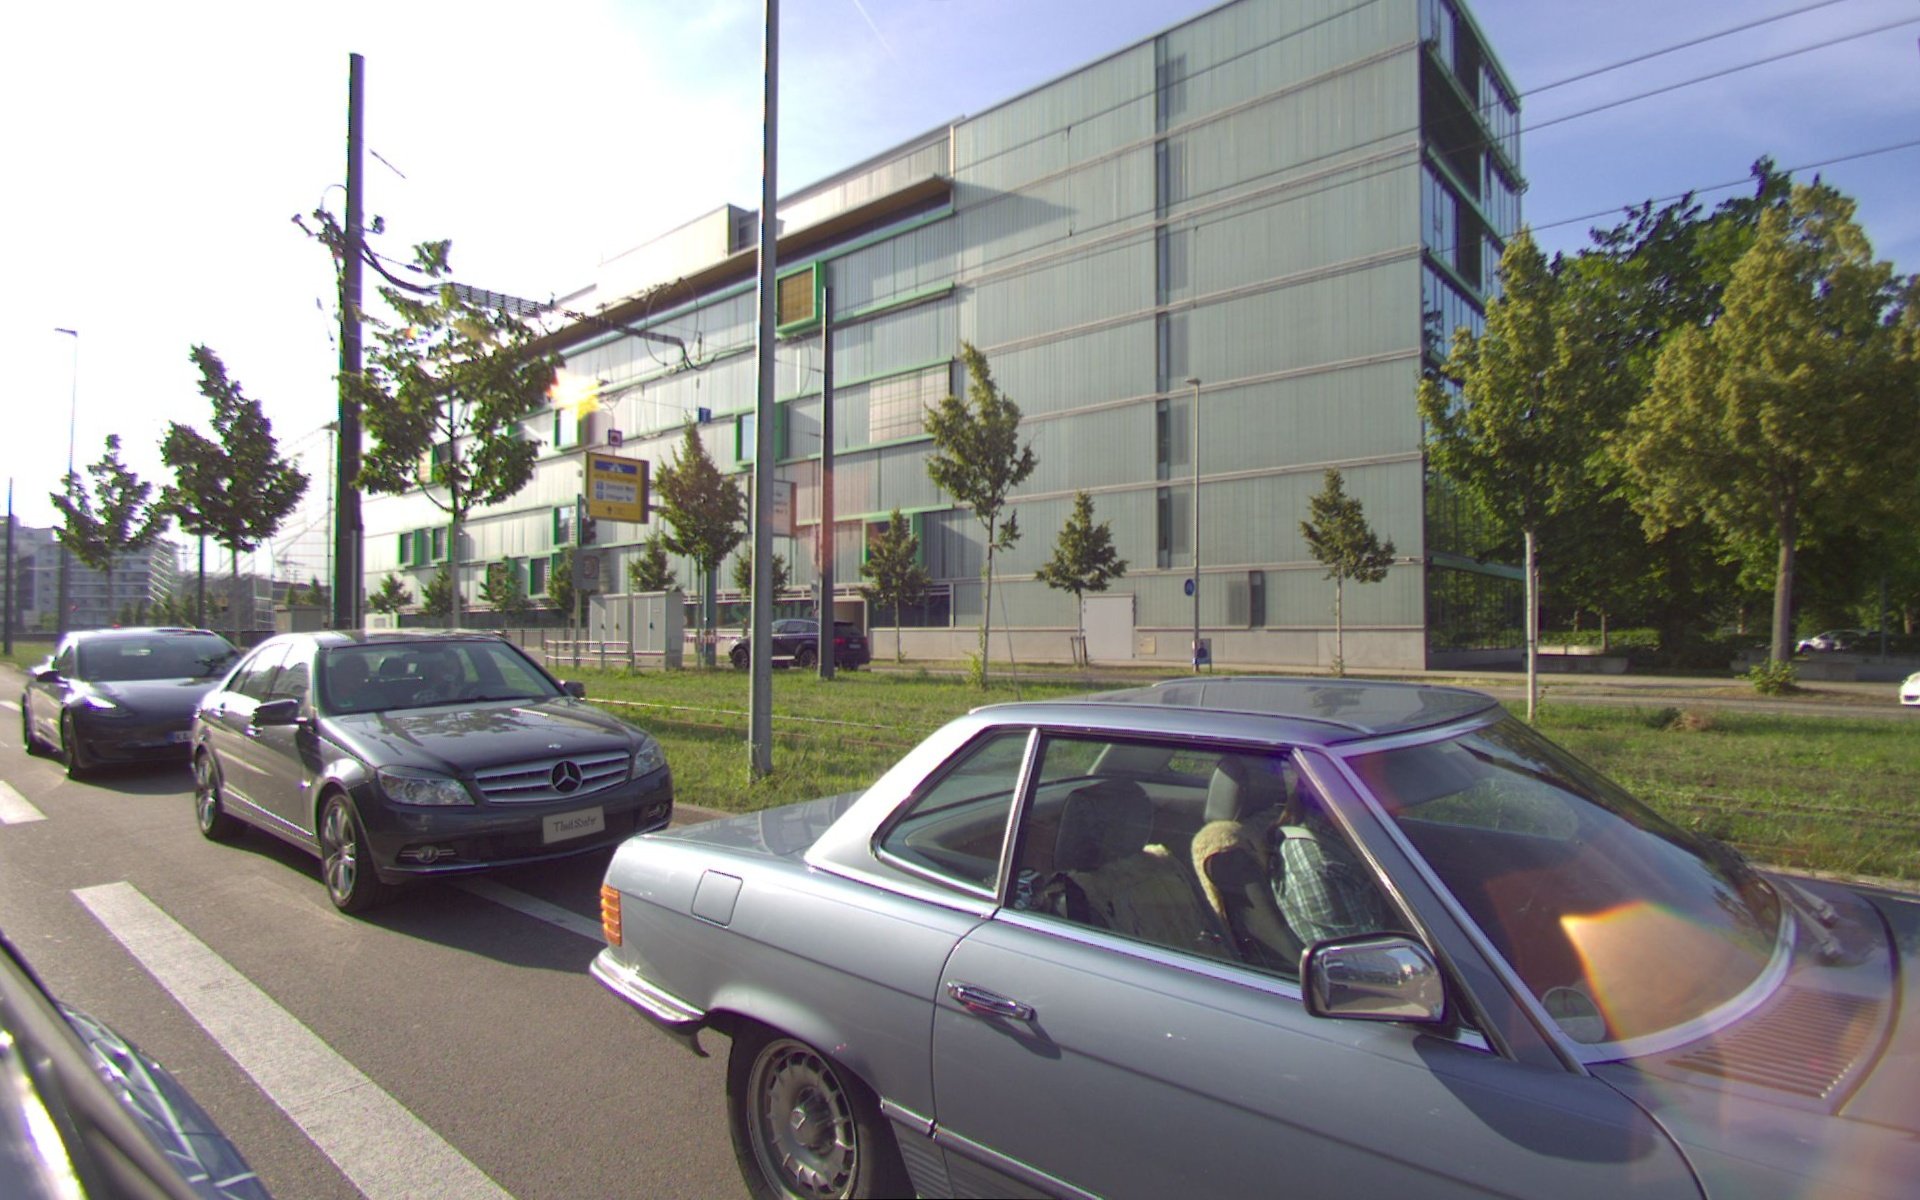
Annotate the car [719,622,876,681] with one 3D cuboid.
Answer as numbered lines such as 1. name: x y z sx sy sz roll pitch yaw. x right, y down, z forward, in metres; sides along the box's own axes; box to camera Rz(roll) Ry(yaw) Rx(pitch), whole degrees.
1. car: -5.115 1.569 31.423 4.987 1.697 1.974 -2 -3 38

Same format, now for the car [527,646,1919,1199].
1. car: 1.026 0.805 2.079 4.396 1.340 1.746 -2 -1 40

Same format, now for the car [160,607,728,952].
1. car: -3.563 0.864 6.572 4.351 1.490 1.768 -2 -1 41

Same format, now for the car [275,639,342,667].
1. car: -37.214 3.027 57.773 4.308 1.539 1.974 -2 -3 40

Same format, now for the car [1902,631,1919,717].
1. car: 19.240 1.279 17.478 4.221 1.539 1.857 -2 -3 41

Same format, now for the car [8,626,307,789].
1. car: -8.977 1.048 11.180 4.333 1.396 1.870 -2 -1 42

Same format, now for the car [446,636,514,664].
1. car: -28.017 2.902 59.030 4.437 1.539 1.886 -2 -3 40
